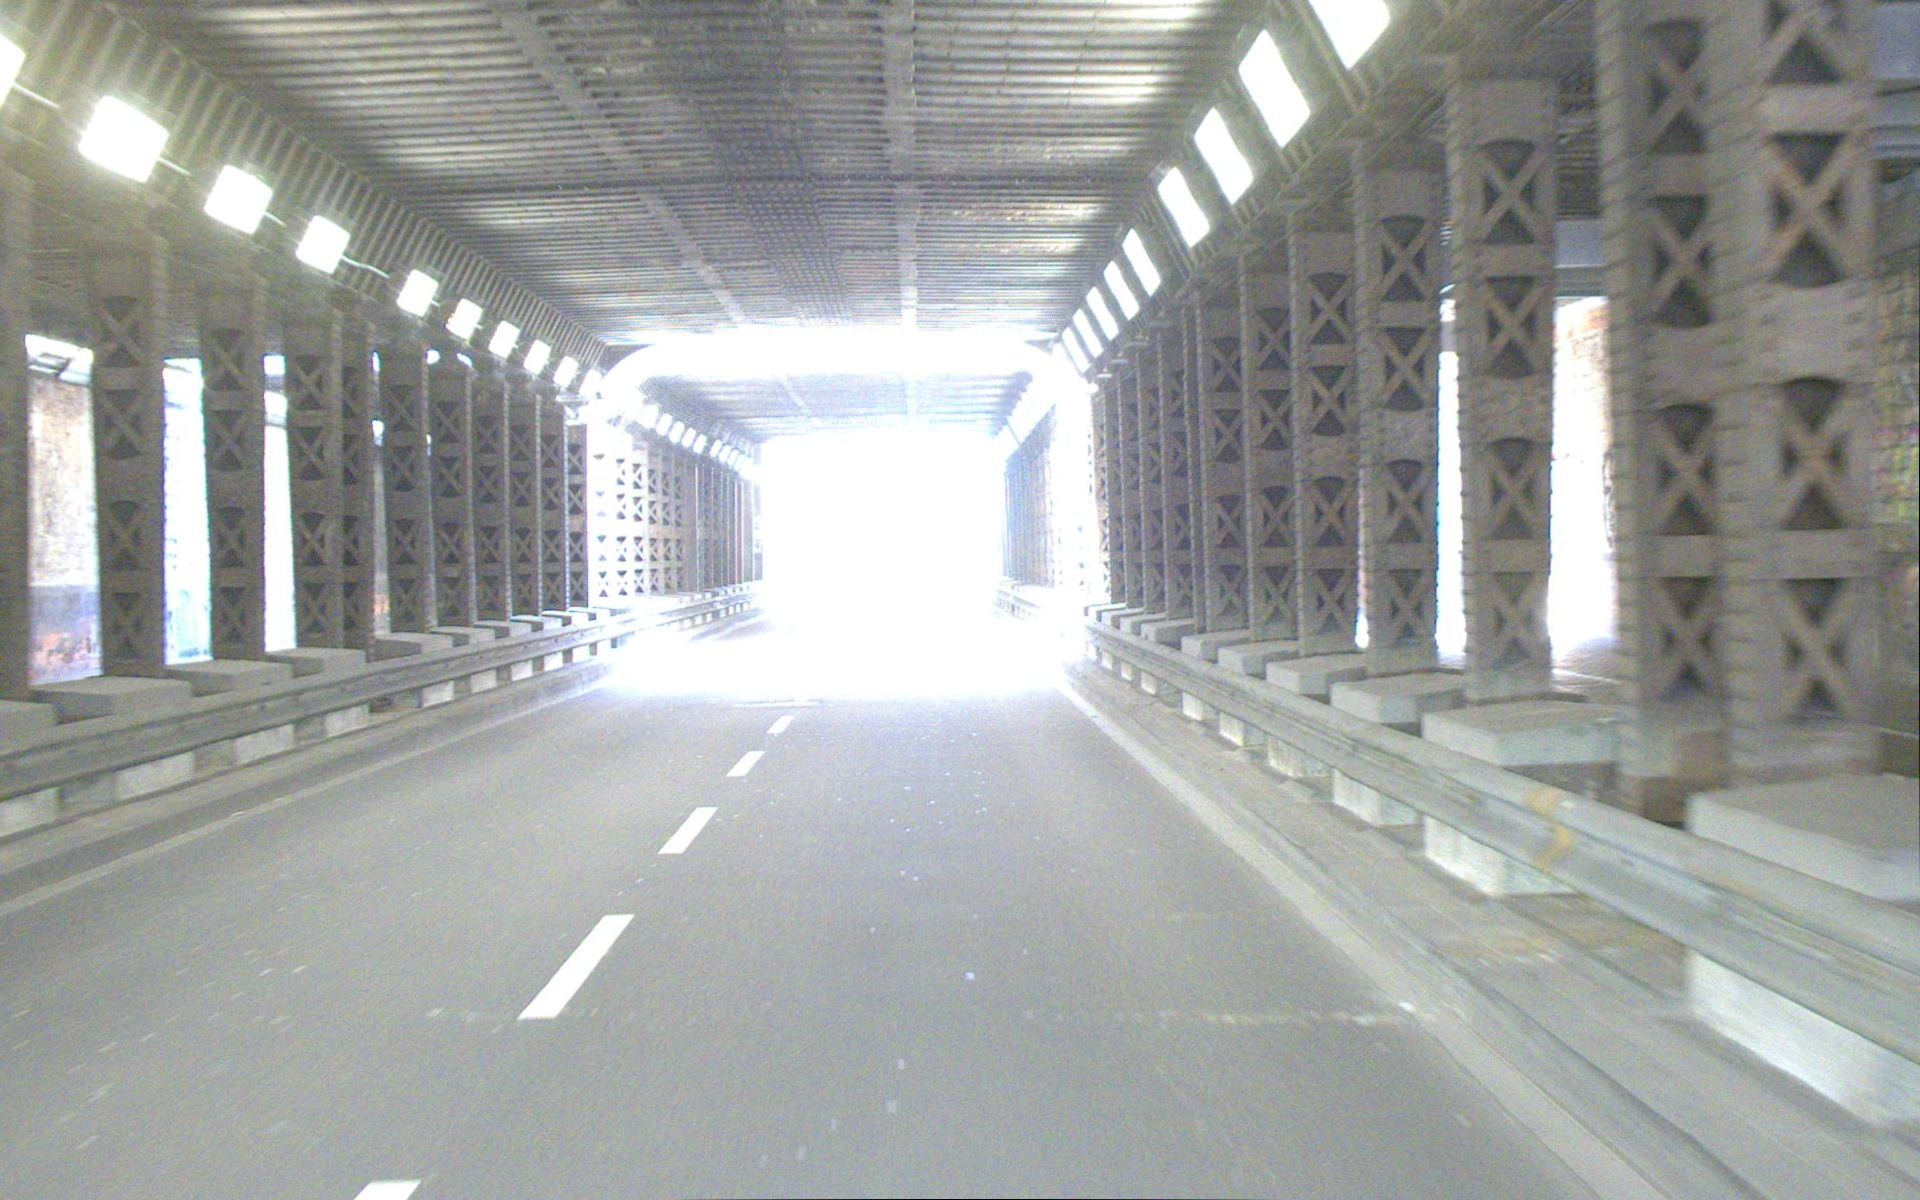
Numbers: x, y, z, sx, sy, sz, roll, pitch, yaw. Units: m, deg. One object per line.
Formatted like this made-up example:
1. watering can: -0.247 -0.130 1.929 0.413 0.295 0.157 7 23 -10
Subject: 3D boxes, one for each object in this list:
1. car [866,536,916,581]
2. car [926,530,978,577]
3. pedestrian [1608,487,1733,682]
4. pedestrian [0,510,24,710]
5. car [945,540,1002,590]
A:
1. car: -2.884 -1.753 143.594 1.993 1.778 4.000 -2 1 -1
2. car: -0.334 -1.860 137.422 1.993 1.778 4.000 -2 1 -1
3. pedestrian: 6.381 -0.146 30.934 0.800 1.696 1.111 -3 1 -1
4. pedestrian: -10.291 0.105 35.308 0.958 2.048 1.355 -1 -1 0
5. car: 0.487 -1.312 127.721 1.993 1.778 4.000 -2 1 -1
